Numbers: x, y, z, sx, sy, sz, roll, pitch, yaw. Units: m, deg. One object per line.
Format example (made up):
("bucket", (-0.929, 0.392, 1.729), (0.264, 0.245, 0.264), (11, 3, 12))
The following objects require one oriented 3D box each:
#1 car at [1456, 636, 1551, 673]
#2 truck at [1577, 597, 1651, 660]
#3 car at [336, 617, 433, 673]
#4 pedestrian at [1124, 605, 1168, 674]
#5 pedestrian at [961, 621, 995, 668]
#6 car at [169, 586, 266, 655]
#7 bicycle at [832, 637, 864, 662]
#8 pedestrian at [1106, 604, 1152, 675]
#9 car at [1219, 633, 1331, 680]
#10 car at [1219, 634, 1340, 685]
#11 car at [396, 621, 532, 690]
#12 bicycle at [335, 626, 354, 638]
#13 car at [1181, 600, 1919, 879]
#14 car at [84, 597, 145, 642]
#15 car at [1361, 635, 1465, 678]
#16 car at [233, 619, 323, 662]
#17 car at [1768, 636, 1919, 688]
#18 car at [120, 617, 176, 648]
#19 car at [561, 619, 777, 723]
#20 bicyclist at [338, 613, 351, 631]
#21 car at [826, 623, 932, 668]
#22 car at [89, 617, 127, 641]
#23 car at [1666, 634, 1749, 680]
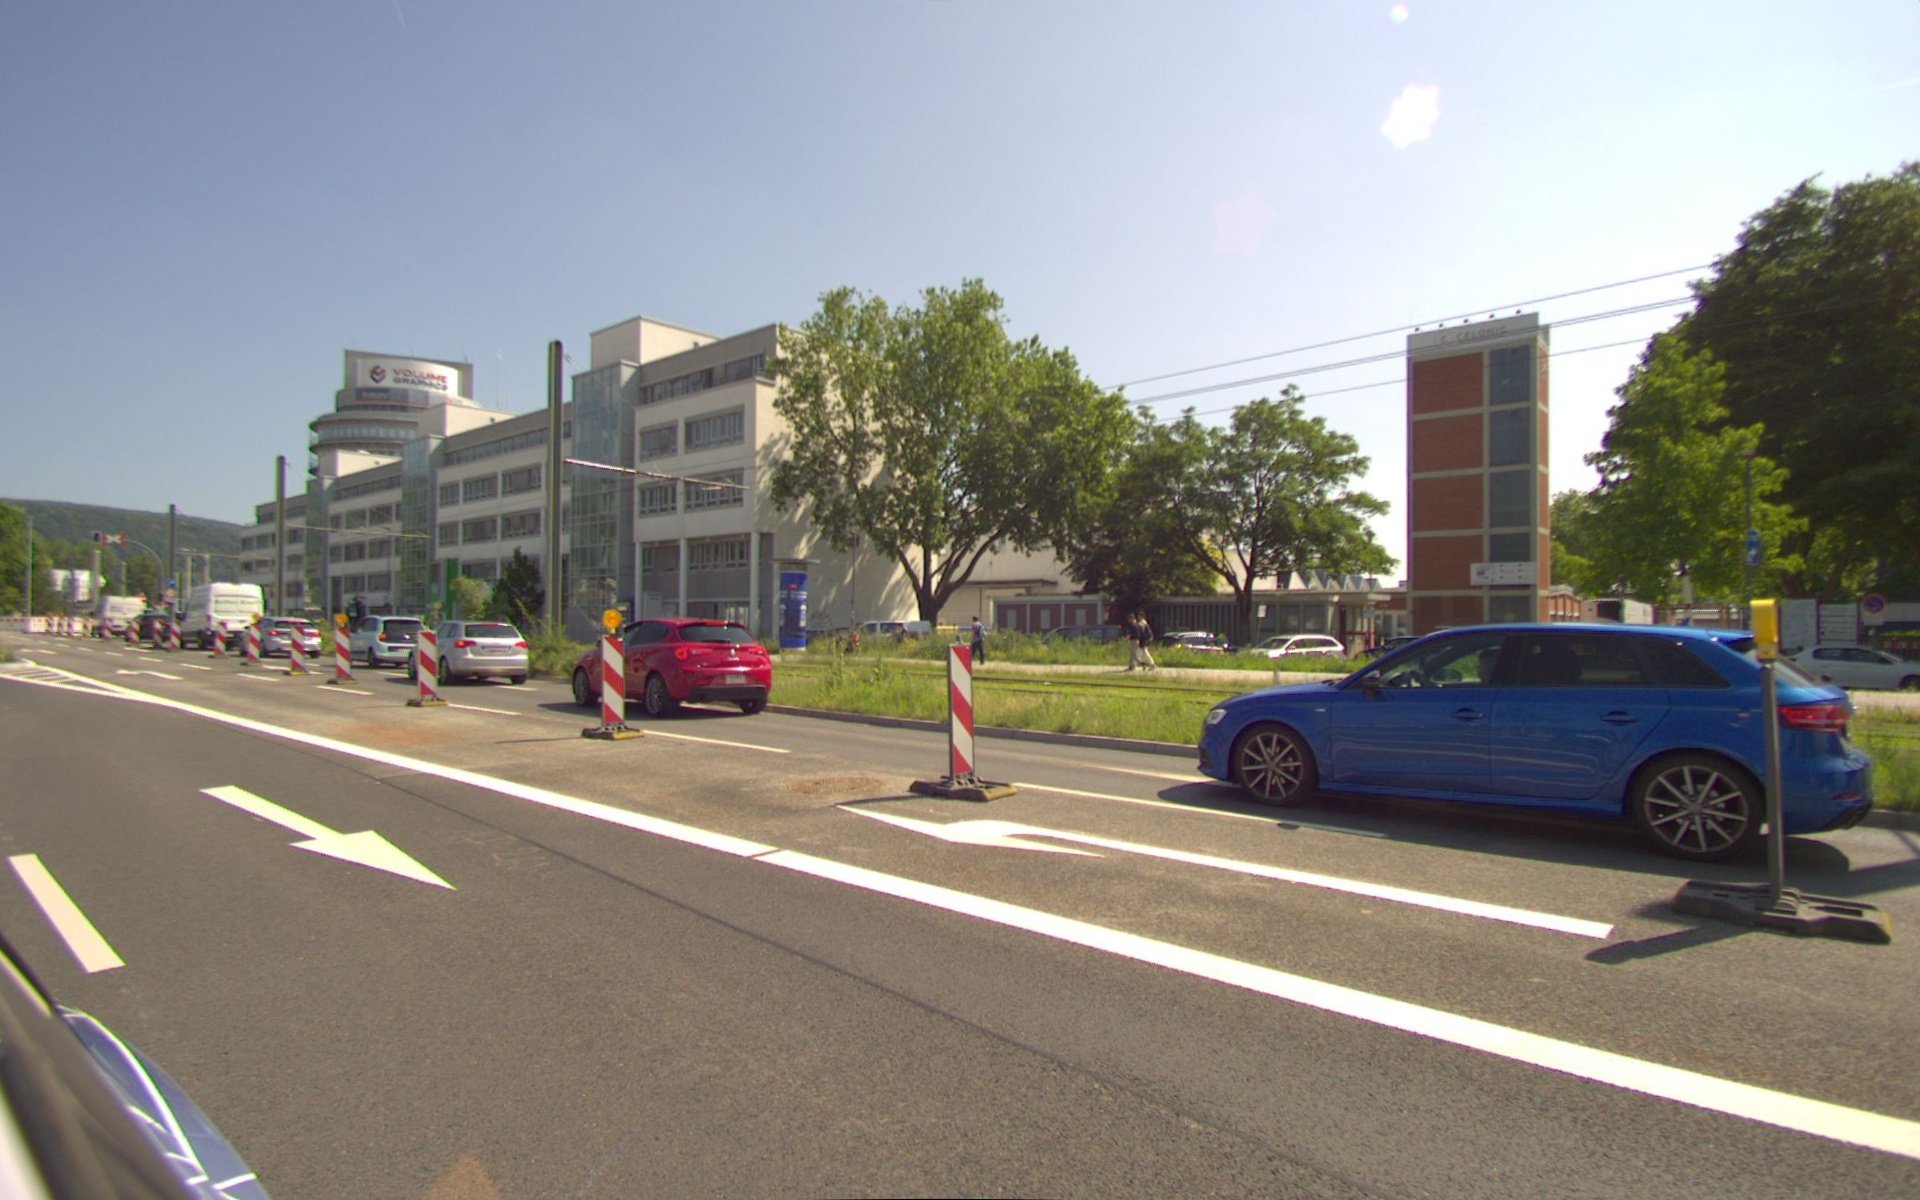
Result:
("car", (23.189, 2.306, 43.239), (3.343, 1.464, 1.521), (-1, 0, 40))
("truck", (48.473, 1.958, 74.772), (2.887, 4.113, 12.472), (-1, 0, 40))
("car", (-17.166, 1.322, 30.138), (1.562, 1.542, 3.623), (5, -4, -45))
("pedestrian", (5.619, 1.172, 30.623), (0.984, 2.029, 0.830), (-2, -1, 44))
("pedestrian", (0.621, 1.526, 34.980), (0.805, 1.588, 0.827), (-1, 0, -43))
("car", (-31.906, 0.877, 43.392), (5.984, 2.761, 2.055), (-1, -3, 42))
("bicycle", (-4.639, 2.063, 42.027), (0.455, 0.993, 1.558), (1, -2, -45))
("pedestrian", (4.987, 1.155, 29.889), (0.910, 2.029, 0.972), (-1, -1, 44))
("car", (11.774, 2.067, 37.916), (3.631, 1.603, 1.751), (-1, 0, 37))
("car", (11.144, 2.033, 35.376), (3.631, 1.603, 1.751), (-1, 0, 37))
("car", (-11.477, 1.210, 23.271), (1.561, 1.427, 4.300), (3, -2, -44))
("bicycle", (-54.593, 2.857, 89.747), (2.831, 1.025, 0.746), (0, -1, 43))
("car", (3.893, 0.786, 7.268), (4.288, 1.438, 1.611), (-1, -3, 42))
("car", (-52.369, 1.247, 62.630), (6.195, 2.598, 2.008), (-1, -4, 43))
("car", (18.644, 2.298, 41.713), (3.631, 1.603, 1.751), (-1, 0, 37))
("car", (-24.668, 1.442, 36.549), (4.468, 1.454, 1.655), (-1, -3, 42))
("car", (27.403, 1.865, 30.812), (4.266, 1.468, 1.522), (-2, -2, 42))
("car", (-42.173, 1.675, 52.531), (4.192, 1.468, 1.529), (-1, -4, 42))
("car", (-4.664, 1.027, 15.887), (1.561, 1.427, 4.003), (3, -2, -44))
("bicyclist", (-54.612, 1.960, 89.773), (1.077, 1.551, 0.746), (0, -1, 43))
("car", (-4.132, 2.281, 51.457), (4.988, 2.196, 2.121), (1, -1, -21))
("car", (-59.237, 2.009, 70.336), (3.979, 1.553, 1.562), (-1, -4, 44))
("car", (25.955, 1.935, 35.255), (1.534, 1.468, 3.721), (-1, -1, 24))
